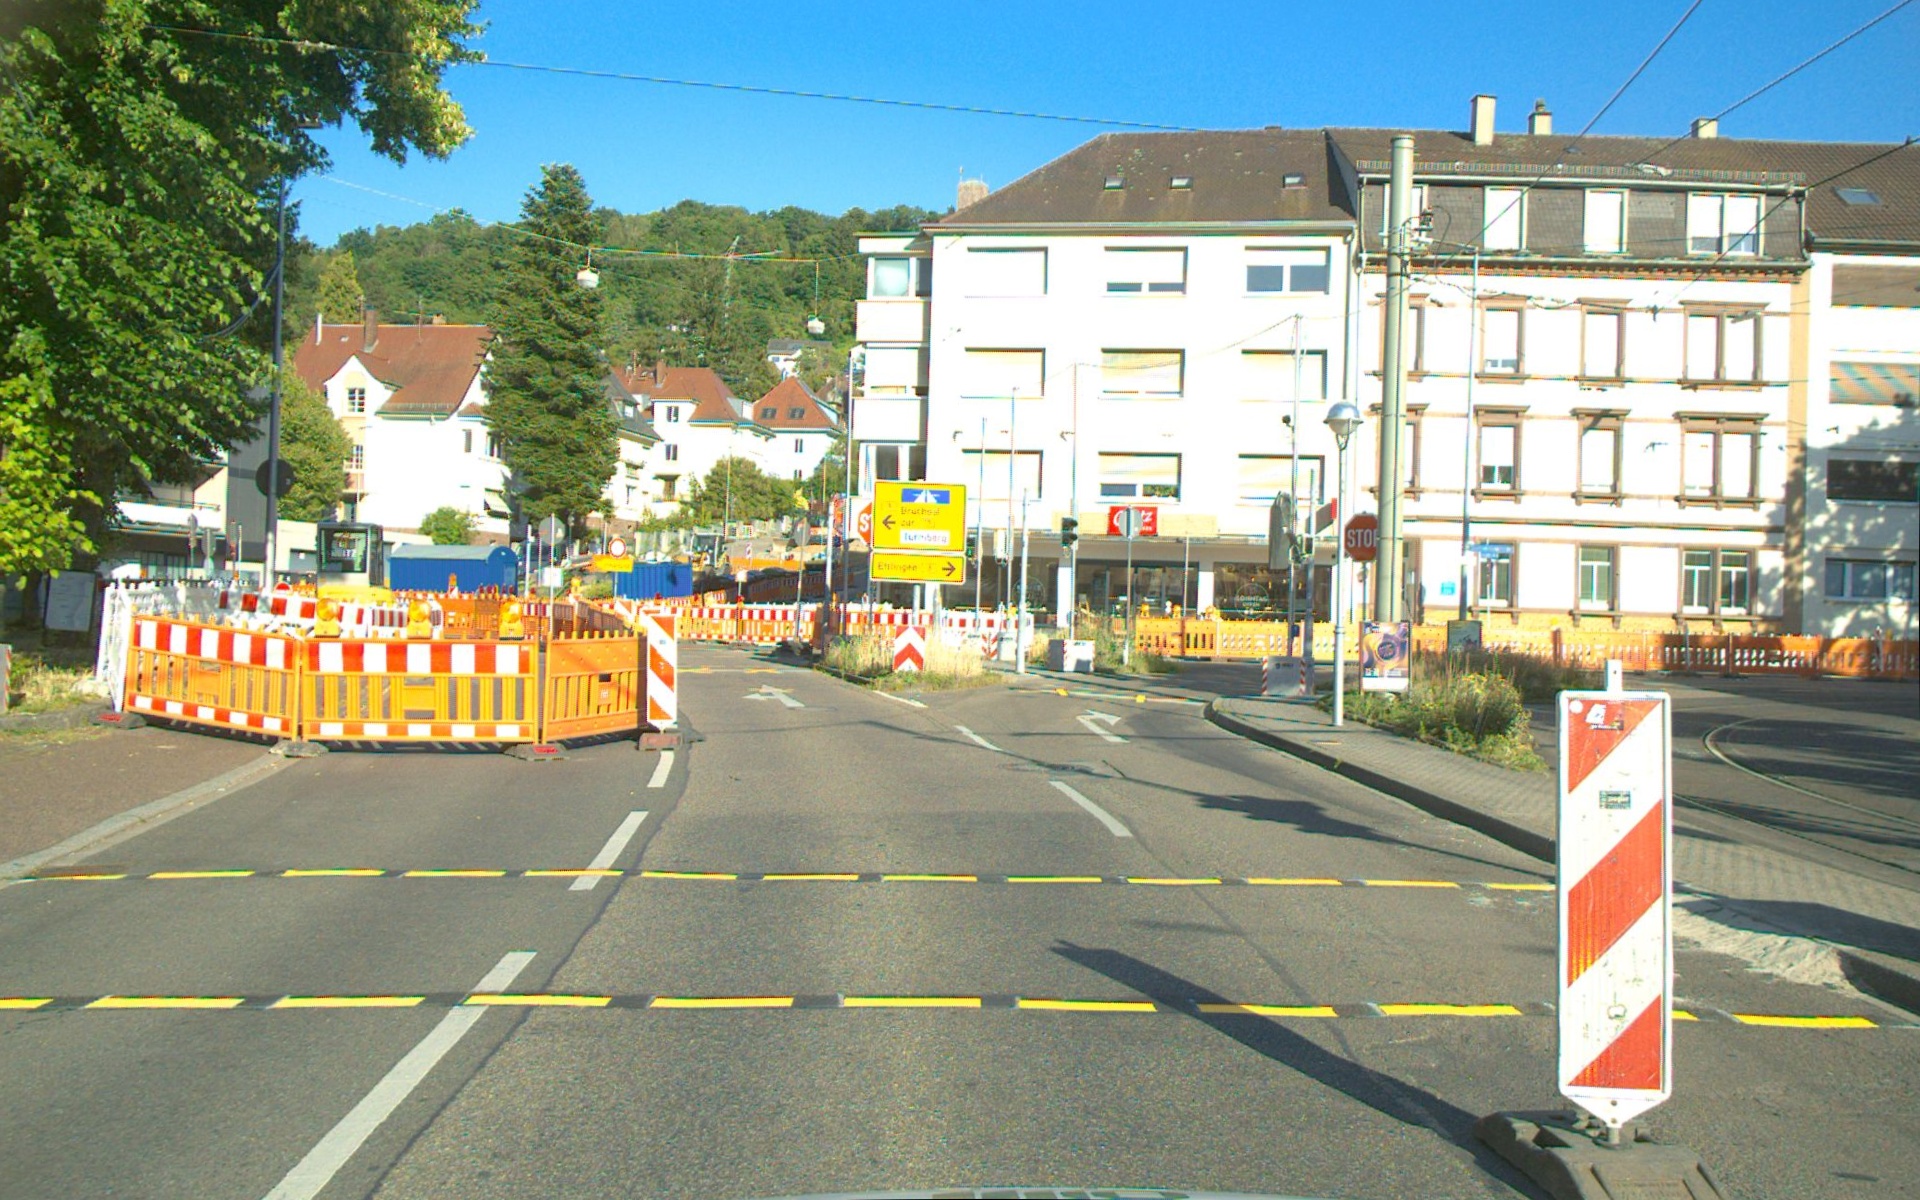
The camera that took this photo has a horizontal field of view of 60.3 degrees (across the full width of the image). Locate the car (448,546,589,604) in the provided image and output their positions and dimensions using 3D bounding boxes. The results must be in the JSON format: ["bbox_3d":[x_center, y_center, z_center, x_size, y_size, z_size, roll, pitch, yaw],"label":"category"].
[{"bbox_3d":[-17.480,-0.943,65.870,2.529,2.158,6.154,1,0,17],"label":"car"}]

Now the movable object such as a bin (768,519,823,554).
[{"bbox_3d":[-11.371,-4.393,114.733,2.510,2.159,5.789,1,0,8],"label":"movable object such as a bin"}]

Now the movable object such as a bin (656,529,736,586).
[{"bbox_3d":[-12.528,-2.005,78.783,1.907,2.538,4.554,1,0,17],"label":"movable object such as a bin"}]

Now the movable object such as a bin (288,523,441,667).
[{"bbox_3d":[-10.464,-0.096,29.331,1.615,2.365,3.916,1,0,-6],"label":"movable object such as a bin"}]
